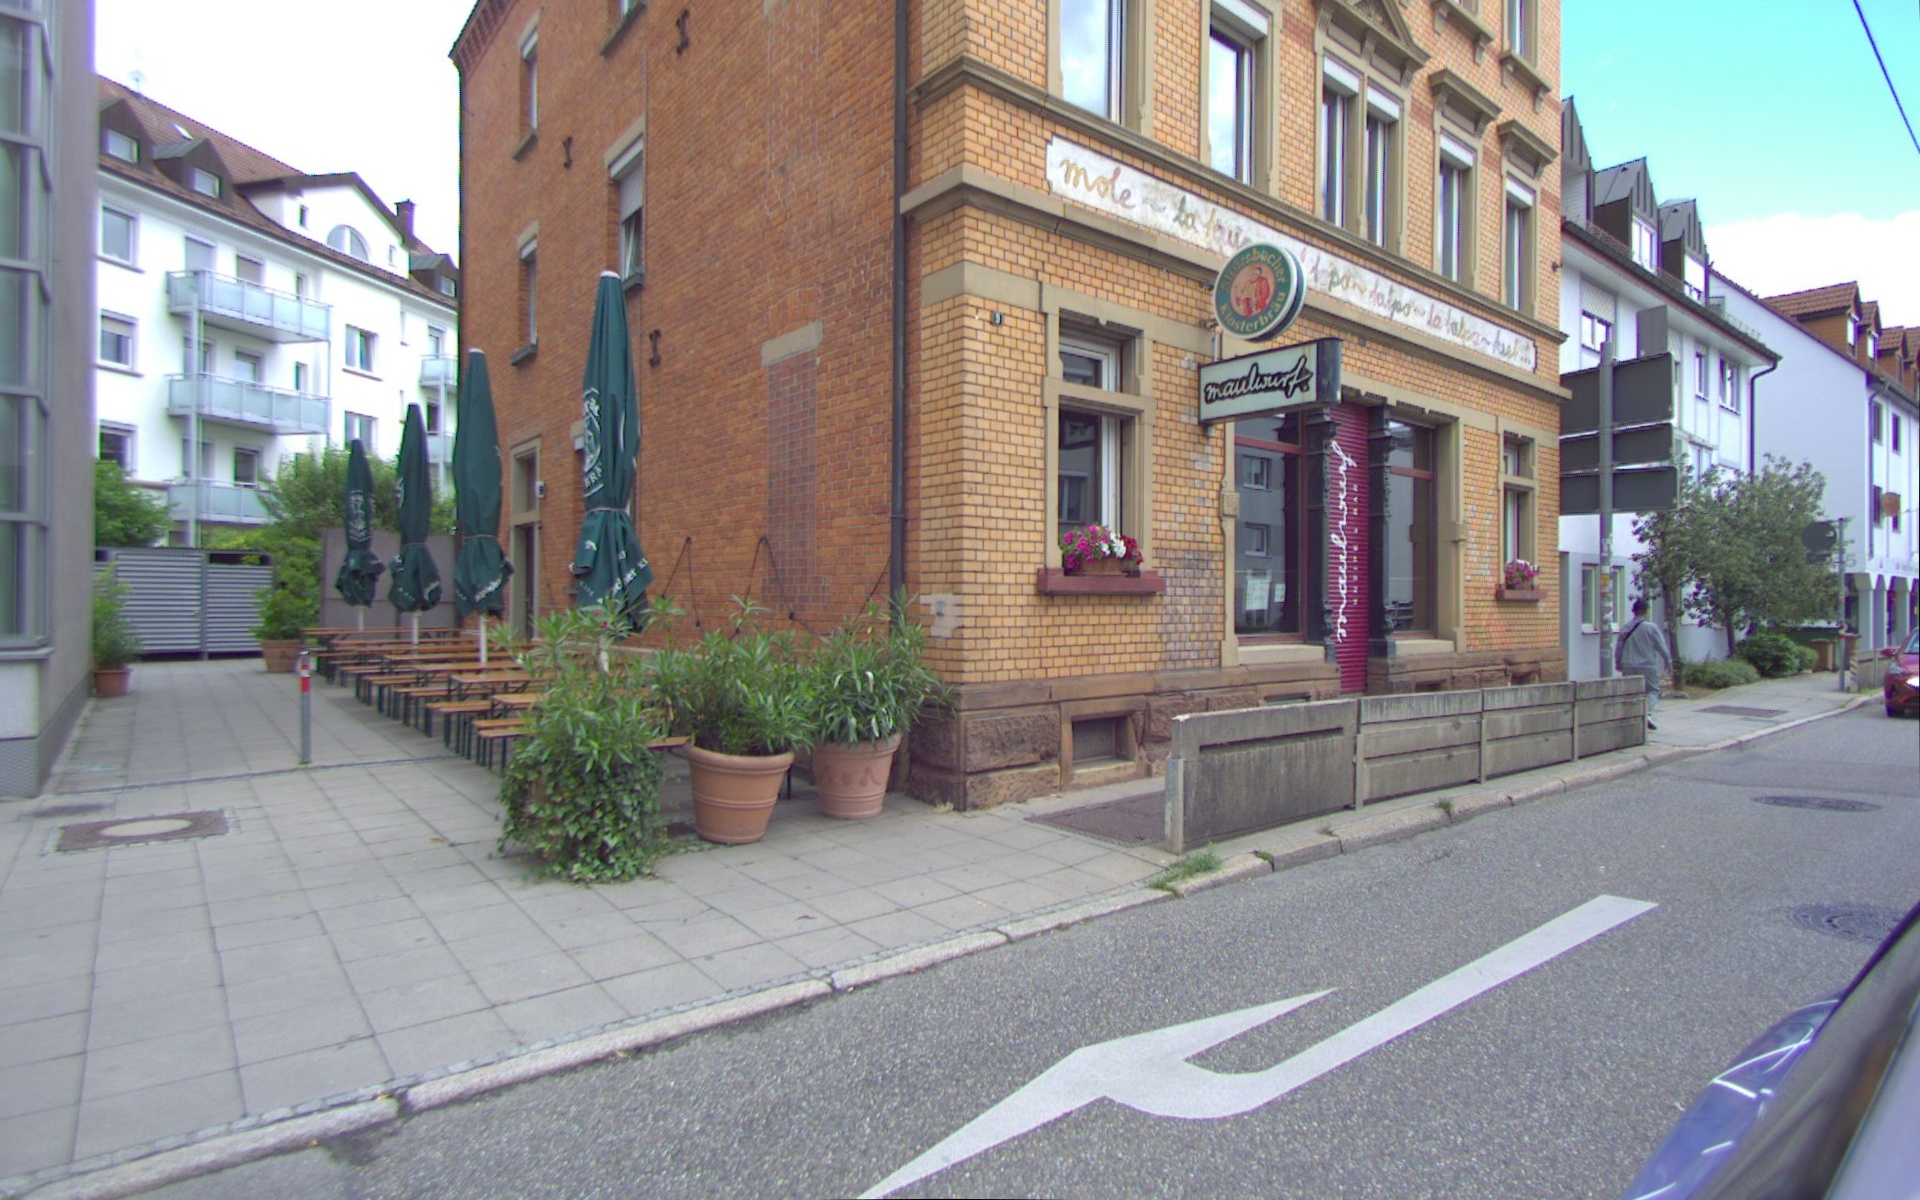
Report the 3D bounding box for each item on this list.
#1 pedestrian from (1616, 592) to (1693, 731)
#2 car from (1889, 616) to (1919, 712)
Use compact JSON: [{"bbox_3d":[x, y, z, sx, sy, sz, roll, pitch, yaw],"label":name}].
[{"bbox_3d":[9.101,0.782,13.257,0.638,1.753,0.689,1,0,-41],"label":"pedestrian"},{"bbox_3d":[16.551,0.977,16.380,3.929,1.471,1.701,0,-3,-40],"label":"car"}]
